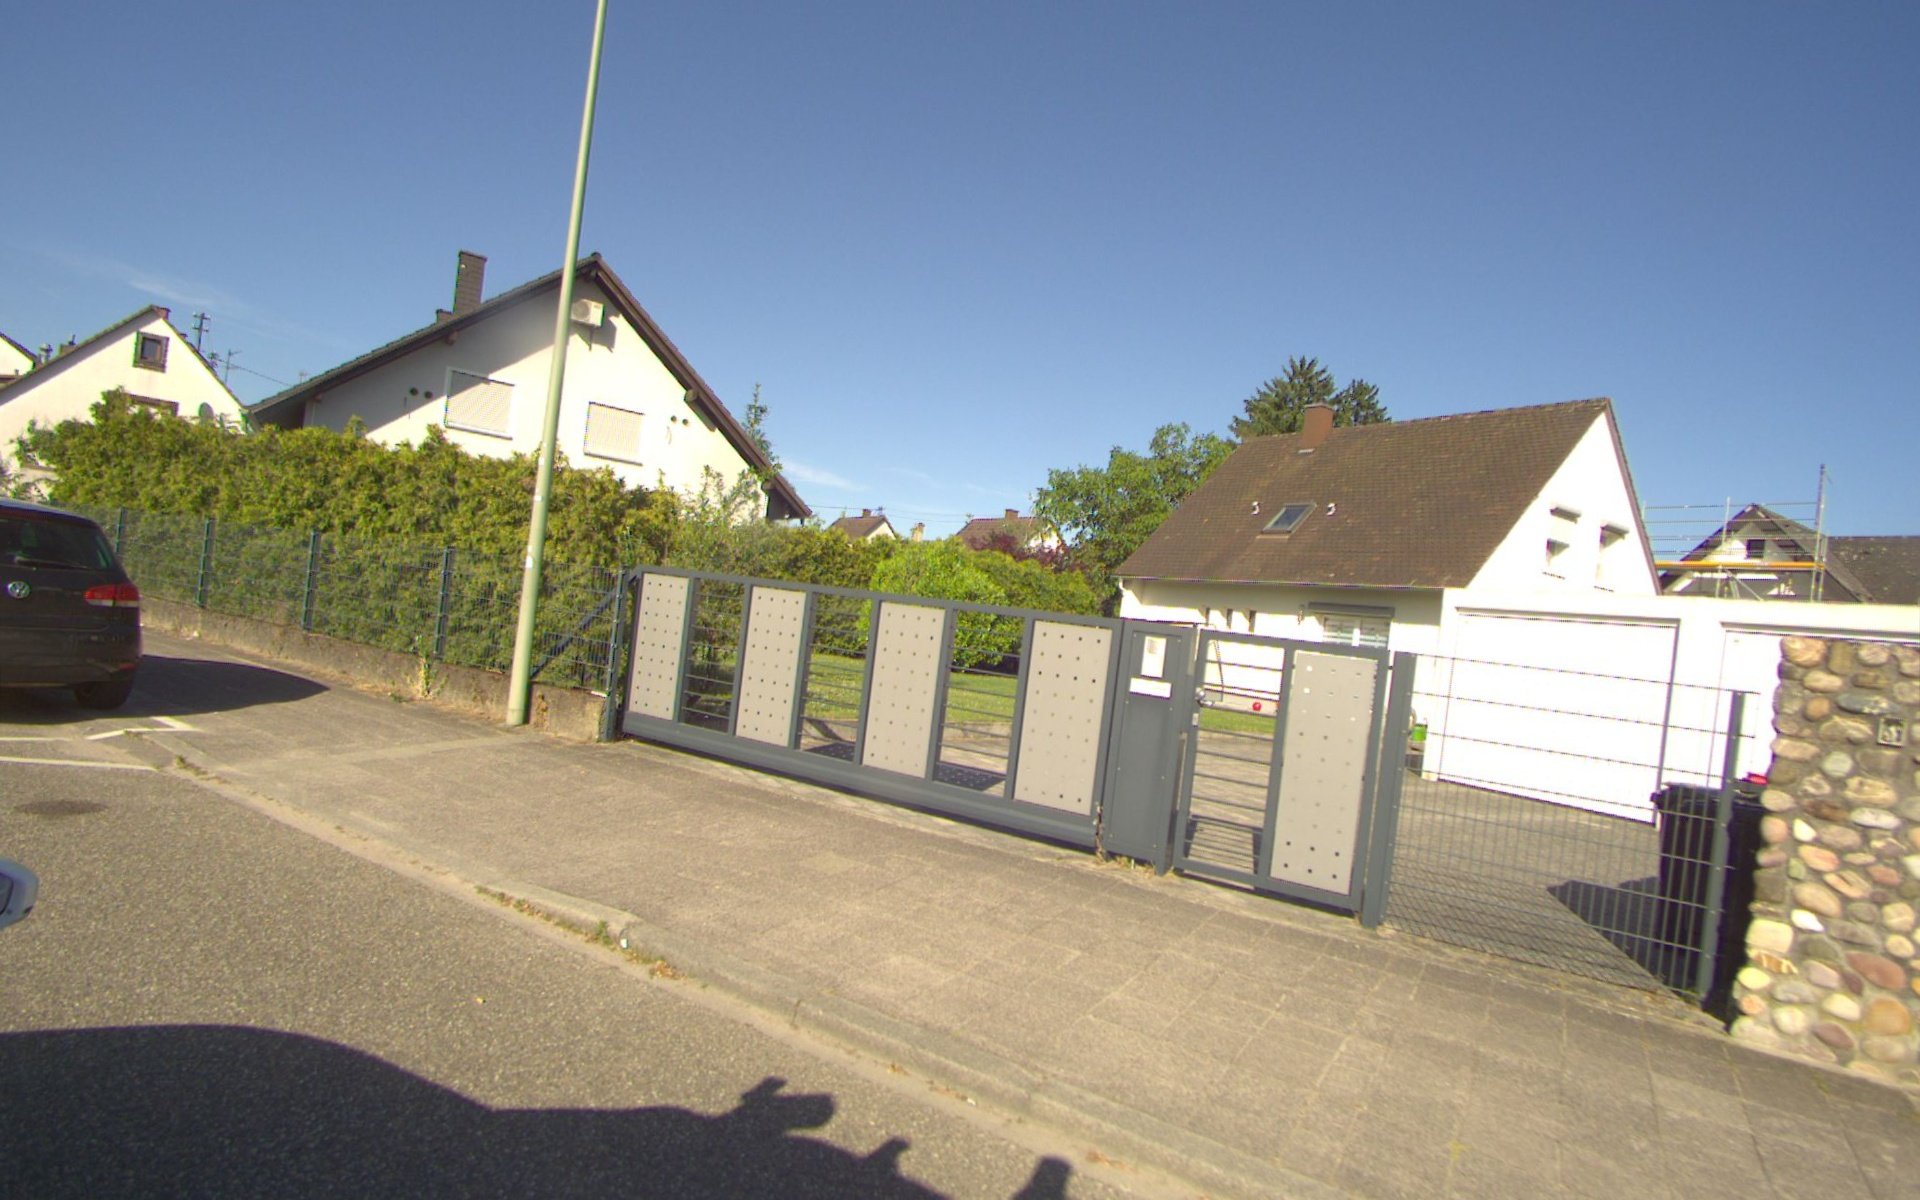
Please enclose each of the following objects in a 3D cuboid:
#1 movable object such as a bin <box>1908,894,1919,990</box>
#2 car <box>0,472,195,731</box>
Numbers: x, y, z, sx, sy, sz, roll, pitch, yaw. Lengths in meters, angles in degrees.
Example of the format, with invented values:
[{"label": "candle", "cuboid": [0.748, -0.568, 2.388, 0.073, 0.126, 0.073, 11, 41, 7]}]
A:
[{"label": "movable object such as a bin", "cuboid": [5.714, 1.759, 5.546, 0.369, 0.936, 0.549, 7, 0, -30]}, {"label": "car", "cuboid": [-7.795, -0.162, 7.569, 3.751, 1.678, 1.780, 7, -2, 30]}]
